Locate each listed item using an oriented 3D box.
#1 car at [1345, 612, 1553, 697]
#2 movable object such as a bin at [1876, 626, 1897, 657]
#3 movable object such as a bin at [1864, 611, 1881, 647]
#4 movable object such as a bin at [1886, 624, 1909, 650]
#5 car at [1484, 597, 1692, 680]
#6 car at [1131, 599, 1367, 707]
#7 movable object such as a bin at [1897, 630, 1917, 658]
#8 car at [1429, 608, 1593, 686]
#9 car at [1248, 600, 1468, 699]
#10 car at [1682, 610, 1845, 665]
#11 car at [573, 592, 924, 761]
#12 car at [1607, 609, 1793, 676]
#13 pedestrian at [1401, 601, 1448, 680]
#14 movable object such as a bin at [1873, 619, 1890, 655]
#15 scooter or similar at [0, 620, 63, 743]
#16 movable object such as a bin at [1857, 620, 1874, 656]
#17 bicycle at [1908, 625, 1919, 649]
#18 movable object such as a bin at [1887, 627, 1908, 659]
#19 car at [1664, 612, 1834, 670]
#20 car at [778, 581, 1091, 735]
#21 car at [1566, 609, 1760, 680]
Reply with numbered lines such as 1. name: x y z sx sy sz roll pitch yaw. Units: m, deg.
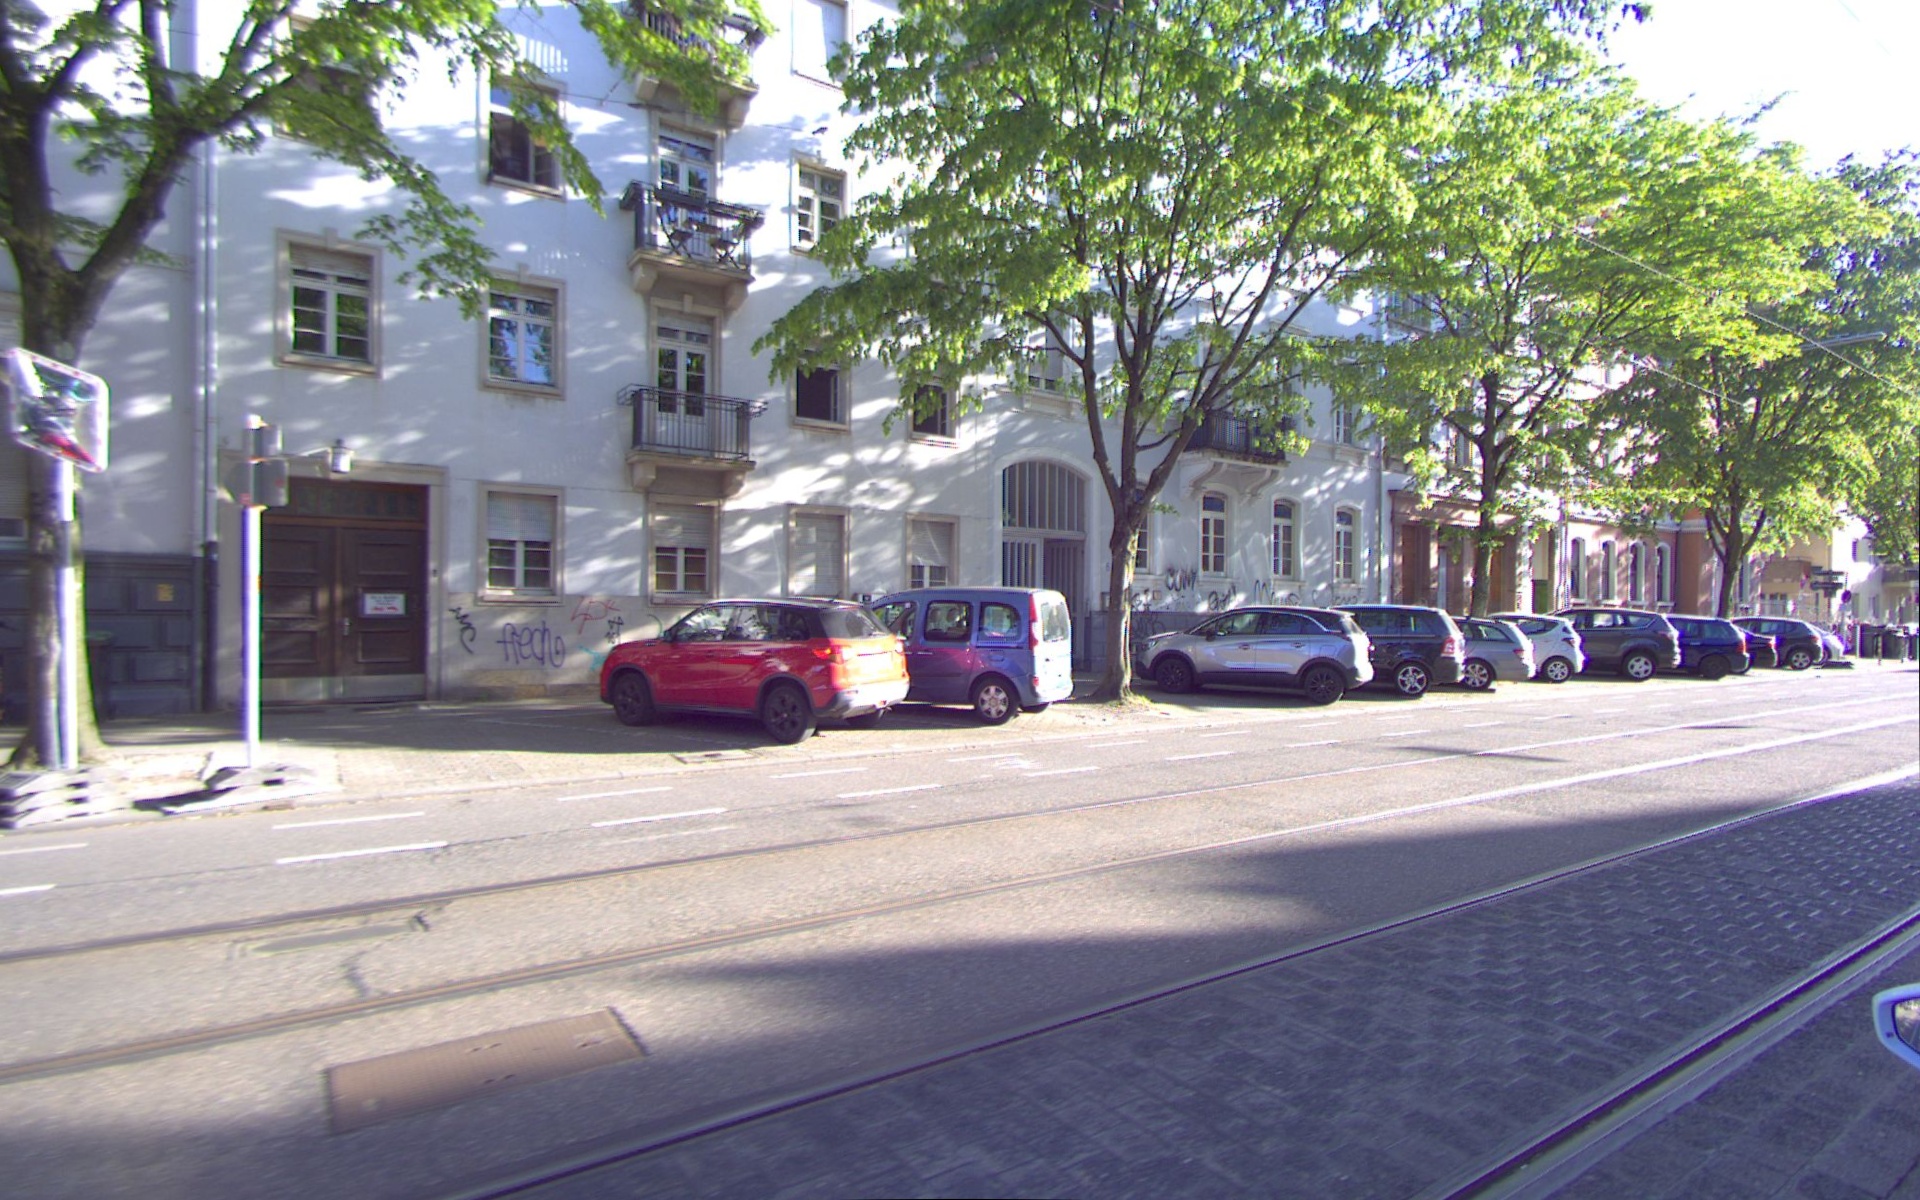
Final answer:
1. car: 10.245 1.079 21.186 3.751 1.505 1.769 2 0 27
2. movable object such as a bin: 36.547 1.639 39.640 0.630 1.219 0.379 1 -1 -22
3. movable object such as a bin: 36.724 1.158 40.410 0.380 1.446 0.379 1 -1 -22
4. movable object such as a bin: 42.291 1.674 45.288 1.133 1.141 0.424 1 -1 -28
5. car: 15.700 0.926 25.389 4.205 1.746 1.706 3 1 25
6. car: 5.221 0.879 18.165 3.799 1.676 1.771 2 0 27
7. movable object such as a bin: 37.783 1.749 40.074 0.630 1.082 0.379 1 -1 -22
8. car: 12.931 1.051 23.810 3.218 1.553 1.706 3 2 25
9. car: 7.768 0.901 19.621 3.799 1.676 1.771 2 0 28
10. car: 26.824 1.219 33.686 3.839 1.542 1.735 2 2 20
11. car: -2.685 0.819 12.571 4.124 1.659 1.740 3 2 28
12. car: 20.906 1.167 28.577 3.908 1.638 1.634 2 1 21
13. pedestrian: 10.683 0.913 23.089 0.803 1.779 0.756 1 -1 -45
14. movable object such as a bin: 37.137 1.504 40.498 0.382 1.446 0.379 1 -1 -22
15. scooter or similar: -10.999 0.918 11.313 1.270 1.376 0.398 0 -1 -30
16. movable object such as a bin: 36.214 1.529 40.193 0.382 1.446 0.379 1 -1 -22
17. bicycle: 57.874 2.240 60.430 2.981 1.416 0.712 1 -1 -36
18. movable object such as a bin: 37.184 1.711 39.824 0.630 1.258 0.379 1 -1 -22
19. car: 24.651 1.245 31.564 3.848 1.528 1.688 3 2 25
20. car: -0.396 0.735 14.508 4.124 1.822 1.783 3 0 28
21. car: 18.641 1.129 26.848 3.908 1.638 1.634 2 1 21
